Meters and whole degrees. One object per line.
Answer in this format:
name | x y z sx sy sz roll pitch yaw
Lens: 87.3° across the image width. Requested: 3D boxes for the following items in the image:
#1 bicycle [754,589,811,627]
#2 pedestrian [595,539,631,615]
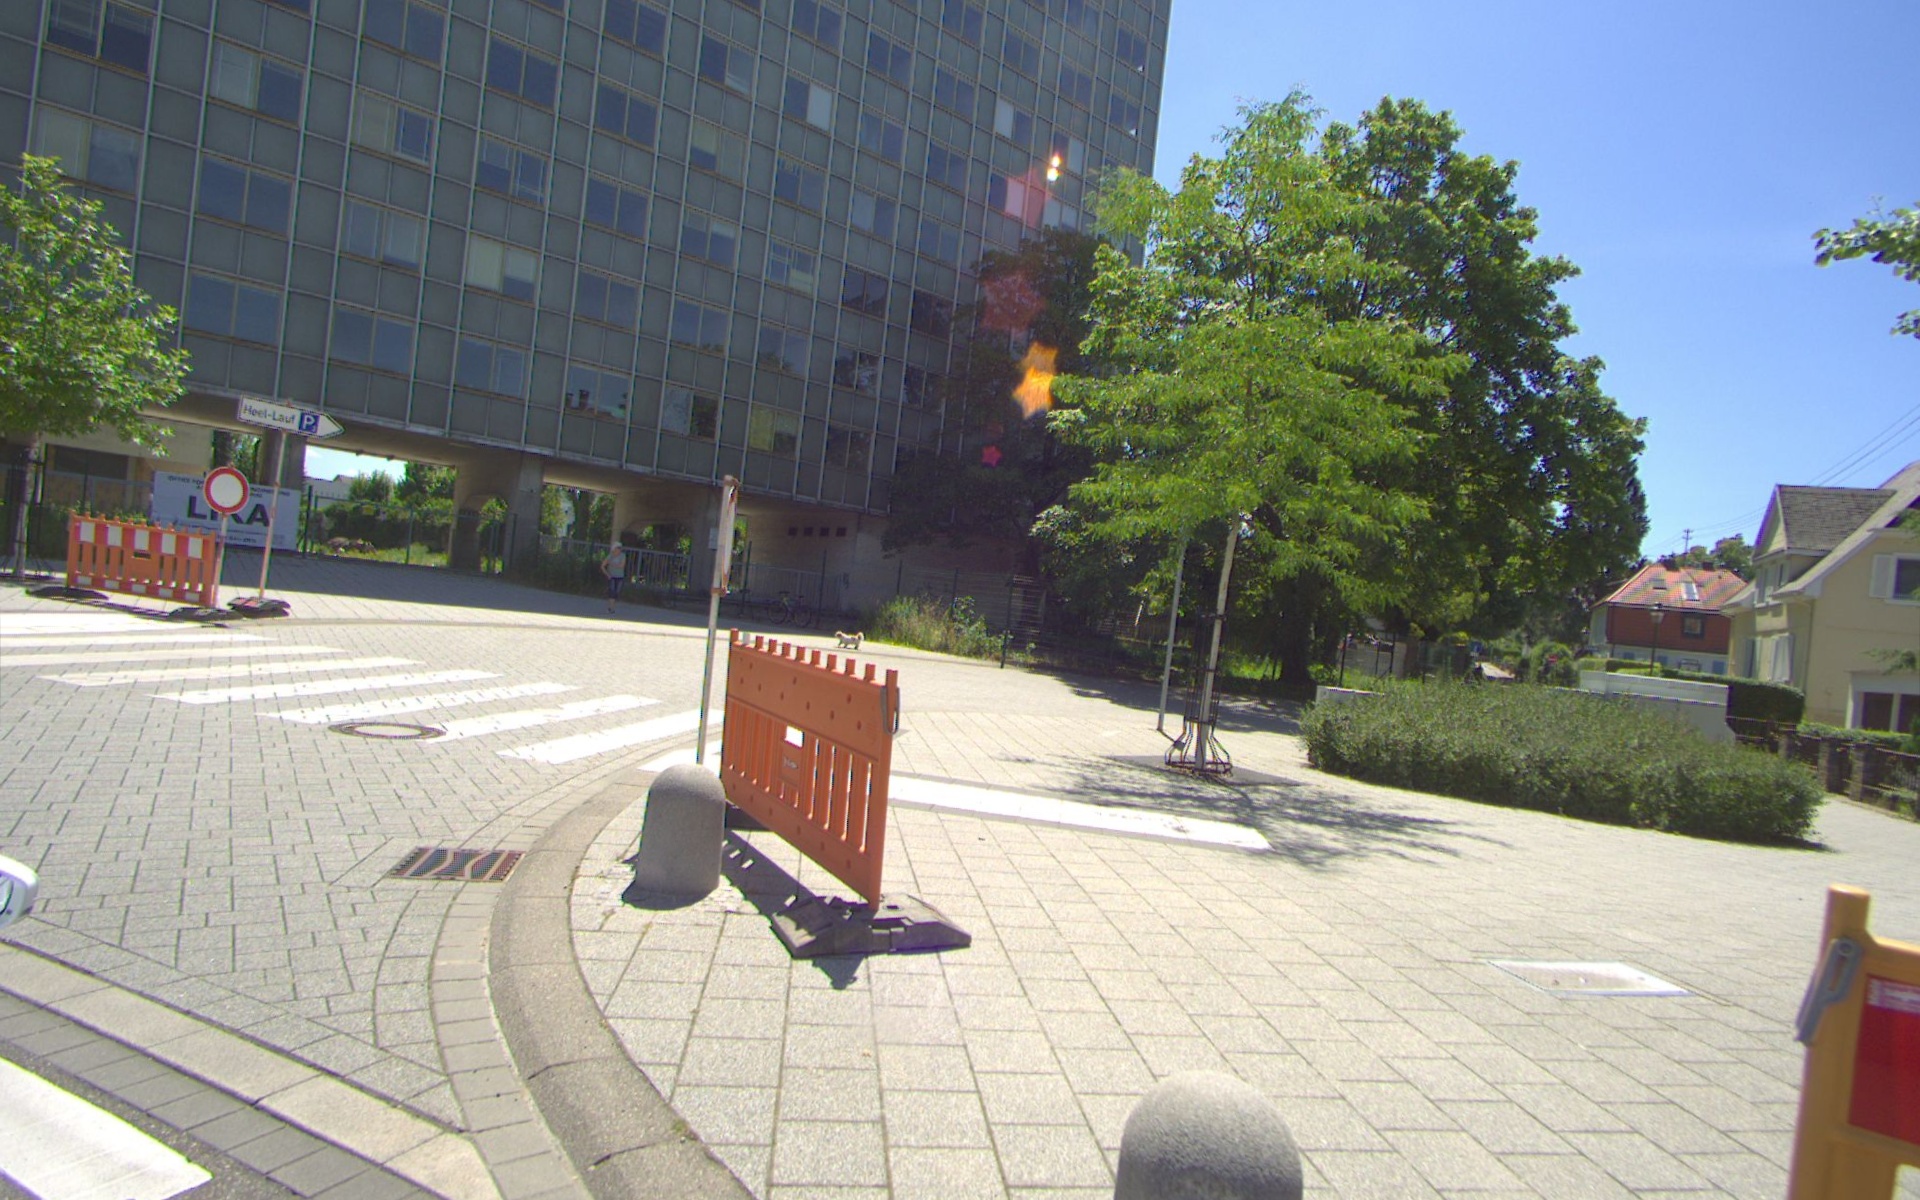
bicycle | -5.196 0.221 29.388 1.725 0.919 0.447 6 1 32
pedestrian | -8.220 -0.542 23.819 0.560 1.731 0.482 6 3 -31
